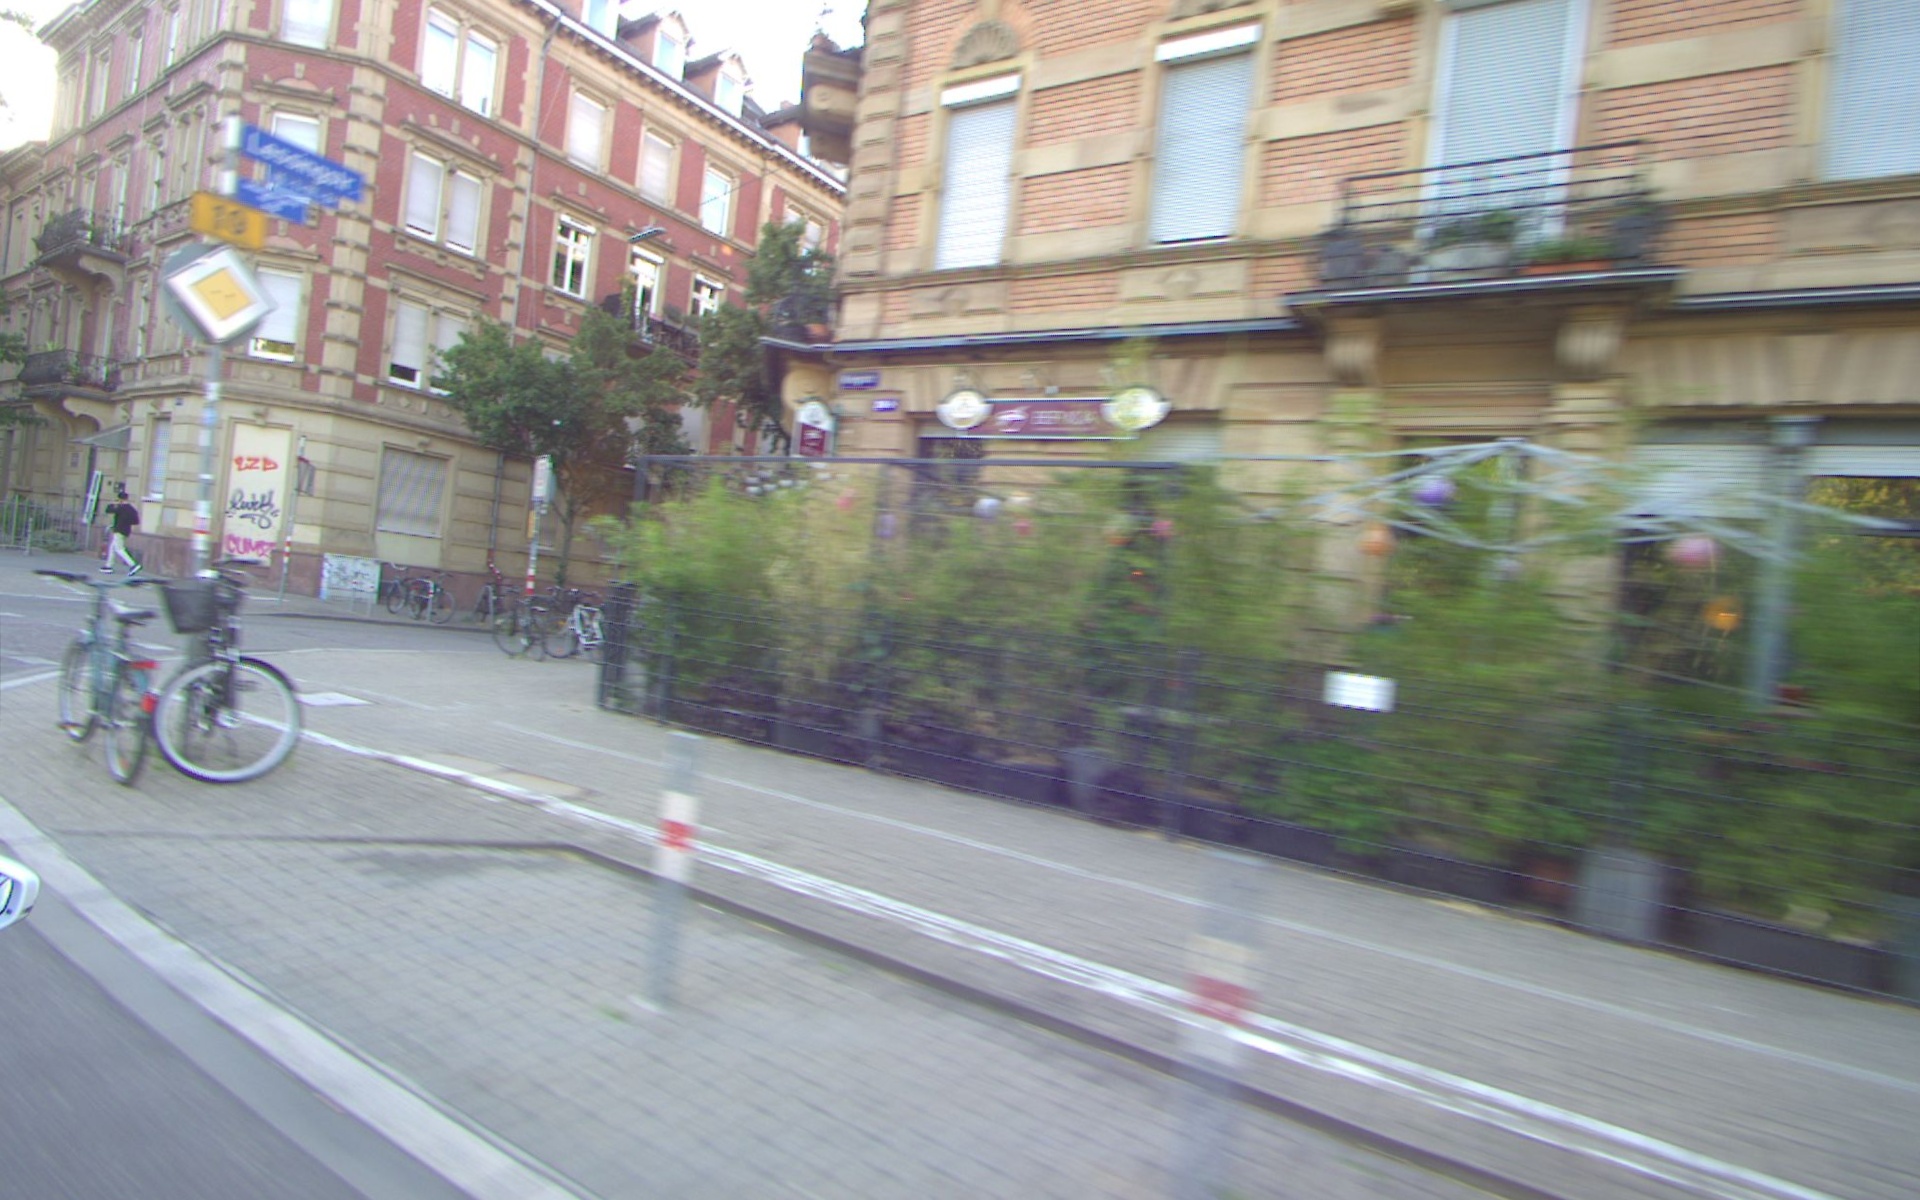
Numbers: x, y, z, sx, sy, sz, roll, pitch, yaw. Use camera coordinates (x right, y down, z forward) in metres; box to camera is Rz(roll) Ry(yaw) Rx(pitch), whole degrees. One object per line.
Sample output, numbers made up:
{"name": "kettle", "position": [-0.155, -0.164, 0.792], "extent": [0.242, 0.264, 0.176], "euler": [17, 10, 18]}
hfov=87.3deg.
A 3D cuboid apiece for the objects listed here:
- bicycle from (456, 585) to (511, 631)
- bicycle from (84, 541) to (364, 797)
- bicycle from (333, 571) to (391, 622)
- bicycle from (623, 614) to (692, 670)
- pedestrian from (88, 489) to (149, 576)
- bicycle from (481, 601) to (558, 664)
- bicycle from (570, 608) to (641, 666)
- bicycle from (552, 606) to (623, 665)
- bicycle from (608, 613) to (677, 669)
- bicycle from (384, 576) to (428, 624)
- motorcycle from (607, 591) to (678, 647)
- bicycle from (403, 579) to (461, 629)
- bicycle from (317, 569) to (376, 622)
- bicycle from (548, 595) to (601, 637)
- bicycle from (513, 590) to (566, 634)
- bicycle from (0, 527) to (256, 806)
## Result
{"name": "bicycle", "position": [-11.022, 0.184, 23.267], "extent": [1.472, 0.826, 0.295], "euler": [10, 0, 32]}
{"name": "bicycle", "position": [-4.591, 0.340, 6.207], "extent": [2.227, 1.292, 0.565], "euler": [5, 3, 31]}
{"name": "bicycle", "position": [-12.372, -0.074, 20.791], "extent": [1.472, 0.826, 0.292], "euler": [10, 0, 32]}
{"name": "bicycle", "position": [-5.209, 0.712, 17.296], "extent": [1.477, 0.826, 0.294], "euler": [3, -4, 41]}
{"name": "pedestrian", "position": [-18.366, -1.466, 21.956], "extent": [0.818, 1.803, 0.745], "euler": [7, 3, 32]}
{"name": "bicycle", "position": [-6.765, 0.485, 15.410], "extent": [1.711, 0.826, 0.294], "euler": [3, -4, 41]}
{"name": "bicycle", "position": [-5.745, 0.590, 16.260], "extent": [1.477, 0.826, 0.294], "euler": [3, -4, 41]}
{"name": "bicycle", "position": [-5.938, 0.552, 16.011], "extent": [1.477, 0.826, 0.294], "euler": [3, -4, 41]}
{"name": "bicycle", "position": [-5.396, 0.679, 17.034], "extent": [1.477, 0.826, 0.294], "euler": [3, -4, 41]}
{"name": "bicycle", "position": [-11.851, -0.013, 21.499], "extent": [1.477, 0.826, 0.294], "euler": [10, 0, 44]}
{"name": "motorcycle", "position": [-8.452, 0.490, 26.709], "extent": [0.880, 1.135, 2.183], "euler": [11, -1, -40]}
{"name": "bicycle", "position": [-11.415, 0.084, 21.725], "extent": [1.472, 0.826, 0.295], "euler": [10, 0, 32]}
{"name": "bicycle", "position": [-12.465, -0.100, 20.427], "extent": [1.472, 0.826, 0.292], "euler": [10, 0, 32]}
{"name": "bicycle", "position": [-9.696, 0.399, 25.294], "extent": [1.472, 0.826, 0.295], "euler": [10, 0, 32]}
{"name": "bicycle", "position": [-10.235, 0.282, 24.456], "extent": [1.472, 0.826, 0.295], "euler": [10, 0, 32]}
{"name": "bicycle", "position": [-4.917, 0.289, 5.772], "extent": [2.227, 1.317, 0.565], "euler": [5, 3, 31]}
